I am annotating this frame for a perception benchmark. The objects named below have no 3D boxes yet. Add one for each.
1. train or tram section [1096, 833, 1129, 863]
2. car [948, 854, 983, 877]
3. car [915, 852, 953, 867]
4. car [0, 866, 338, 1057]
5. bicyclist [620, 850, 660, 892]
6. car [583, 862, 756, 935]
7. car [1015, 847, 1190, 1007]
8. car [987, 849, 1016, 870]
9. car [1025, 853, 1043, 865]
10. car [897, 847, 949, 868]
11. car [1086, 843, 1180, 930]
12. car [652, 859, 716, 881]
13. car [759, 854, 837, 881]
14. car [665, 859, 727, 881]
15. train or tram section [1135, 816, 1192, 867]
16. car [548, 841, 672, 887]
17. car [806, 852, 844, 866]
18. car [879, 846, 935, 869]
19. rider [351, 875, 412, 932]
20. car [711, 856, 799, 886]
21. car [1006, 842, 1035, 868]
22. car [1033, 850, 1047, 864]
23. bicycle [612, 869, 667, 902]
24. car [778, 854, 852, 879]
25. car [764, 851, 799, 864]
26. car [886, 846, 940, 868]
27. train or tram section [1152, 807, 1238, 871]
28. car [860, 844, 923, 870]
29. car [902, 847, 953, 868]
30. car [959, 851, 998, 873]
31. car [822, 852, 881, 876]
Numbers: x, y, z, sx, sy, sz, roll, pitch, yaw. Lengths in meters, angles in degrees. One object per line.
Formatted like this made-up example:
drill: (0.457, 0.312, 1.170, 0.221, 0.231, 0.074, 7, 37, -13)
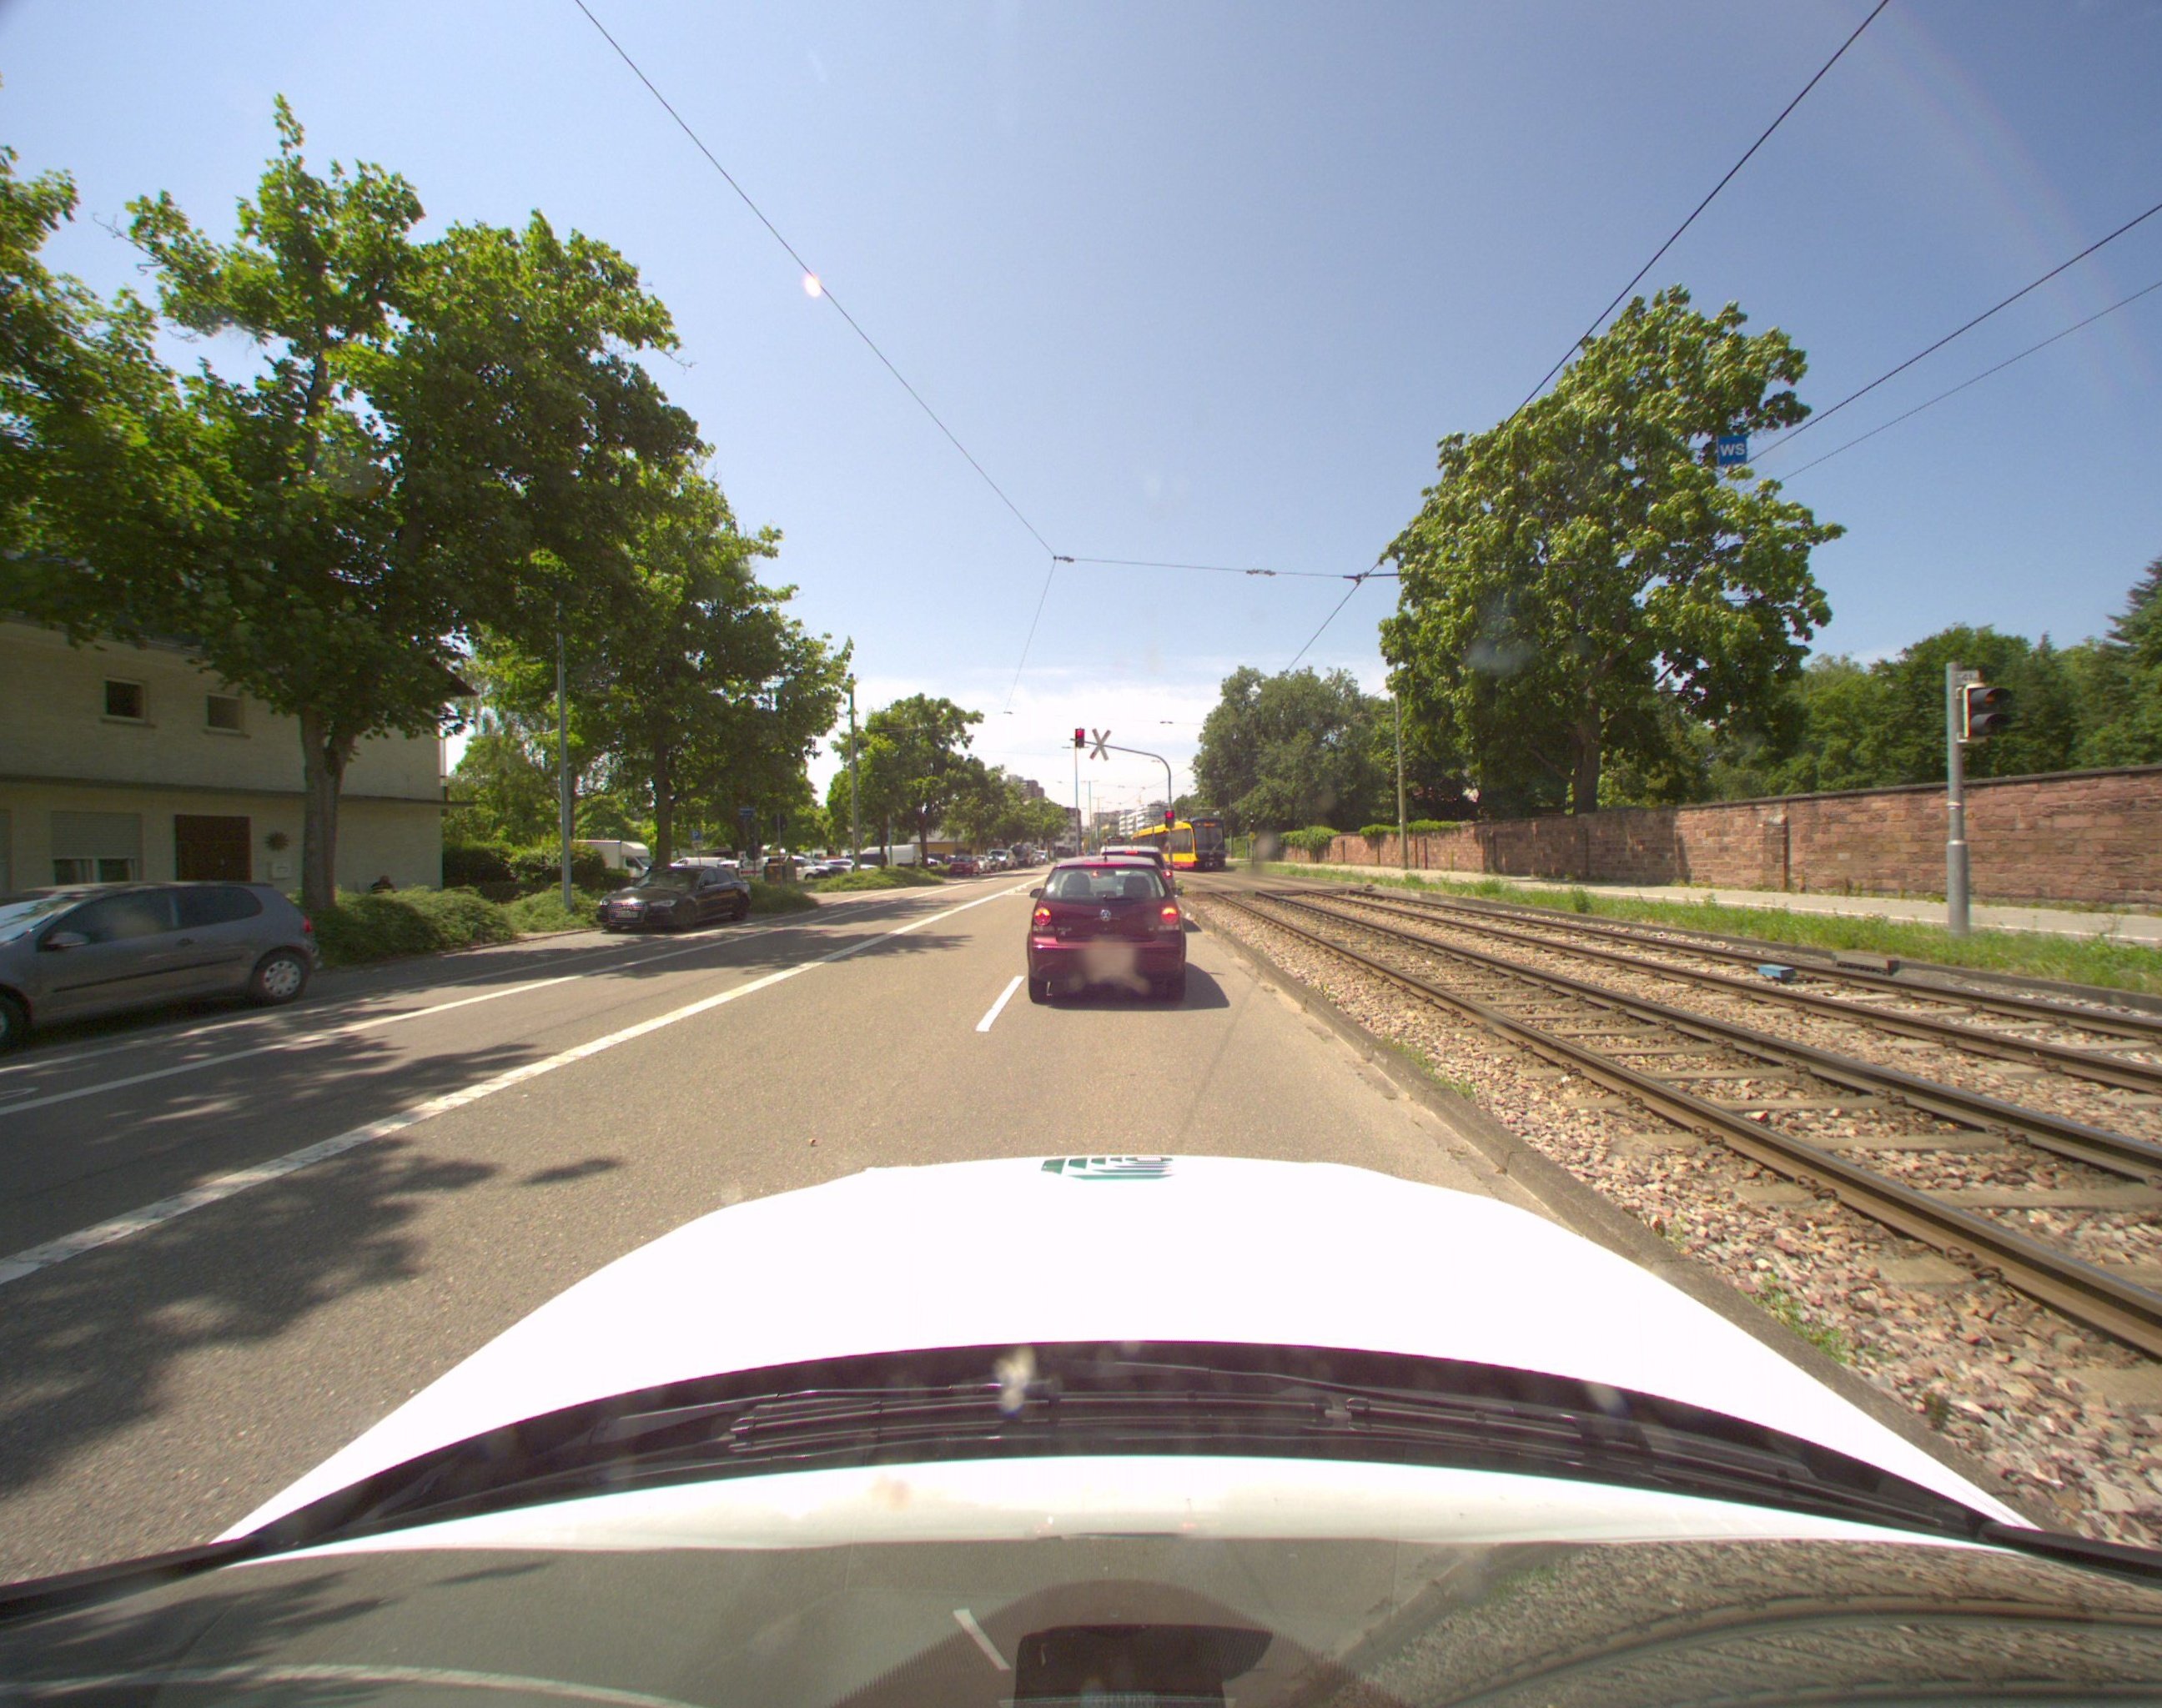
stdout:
train or tram section: (4.050, -0.817, 107.358, 2.736, 3.609, 12.848, 1, 0, -5)
car: (-8.122, 0.793, 57.450, 1.655, 1.497, 4.004, 1, 0, 4)
car: (-17.121, 0.645, 95.058, 4.003, 1.617, 1.818, 1, -1, 3)
car: (-10.176, 0.955, 8.014, 1.812, 1.564, 4.183, 0, 0, 2)
bicyclist: (-14.662, 0.566, 27.101, 0.805, 1.374, 0.829, 1, -1, 5)
car: (-9.730, 0.979, 19.709, 1.812, 1.476, 4.451, 0, 0, 2)
car: (0.249, 0.682, 9.770, 1.666, 1.521, 4.001, 0, 0, 1)
car: (-7.208, 0.491, 74.229, 1.774, 1.881, 4.792, 1, -1, 5)
car: (-5.999, 0.644, 104.577, 1.606, 1.441, 4.006, 1, 0, 6)
car: (-17.071, 0.372, 88.049, 5.076, 2.244, 2.380, 1, -1, 3)
car: (1.035, 0.603, 17.420, 1.770, 1.647, 4.001, 0, 0, 1)
car: (-30.199, 1.228, 62.084, 3.982, 1.653, 1.812, 1, -1, -7)
car: (-18.415, 0.878, 53.070, 4.319, 1.585, 1.917, -2, 0, 7)
car: (-30.463, 1.244, 64.502, 3.982, 1.653, 1.812, 1, -1, -7)
train or tram section: (6.731, -0.997, 68.825, 3.020, 3.797, 13.080, -2, 0, -2)
car: (-31.399, 0.669, 54.430, 6.828, 2.965, 2.364, 1, -1, 0)
car: (-31.283, 0.610, 99.671, 4.006, 1.617, 1.816, 1, -1, 0)
car: (-17.569, 0.322, 82.399, 5.076, 2.244, 2.380, 1, -1, 3)
rider: (-17.835, 1.258, 20.787, 0.820, 1.374, 0.814, -2, 0, 10)
car: (-19.163, 0.985, 47.988, 4.329, 1.585, 1.912, -2, 0, -1)
car: (-6.429, 0.115, 87.265, 2.352, 2.692, 5.311, 1, -1, 3)
car: (-5.567, 0.383, 110.543, 1.771, 1.828, 3.995, 1, -1, -3)
bicycle: (-14.666, 1.038, 27.094, 0.697, 1.029, 1.832, 1, -1, 5)
car: (-18.209, 0.856, 55.779, 4.318, 1.585, 1.917, -2, 0, 8)
car: (-40.590, 0.494, 110.249, 4.003, 1.617, 1.818, 1, -1, 3)
car: (-17.624, 0.346, 85.594, 5.076, 2.244, 2.380, 1, -1, 3)
train or tram section: (7.482, -0.959, 55.812, 3.023, 3.797, 13.067, -2, 0, -5)
car: (-17.309, 0.288, 74.442, 5.076, 2.244, 2.380, 1, -1, 3)
car: (-17.016, 0.392, 90.604, 5.076, 2.244, 2.380, 1, -1, 3)
car: (-8.001, 0.639, 64.002, 1.965, 1.601, 4.566, 1, 0, 7)
car: (-17.960, 0.747, 63.813, 3.973, 1.746, 1.999, -2, 0, 0)
